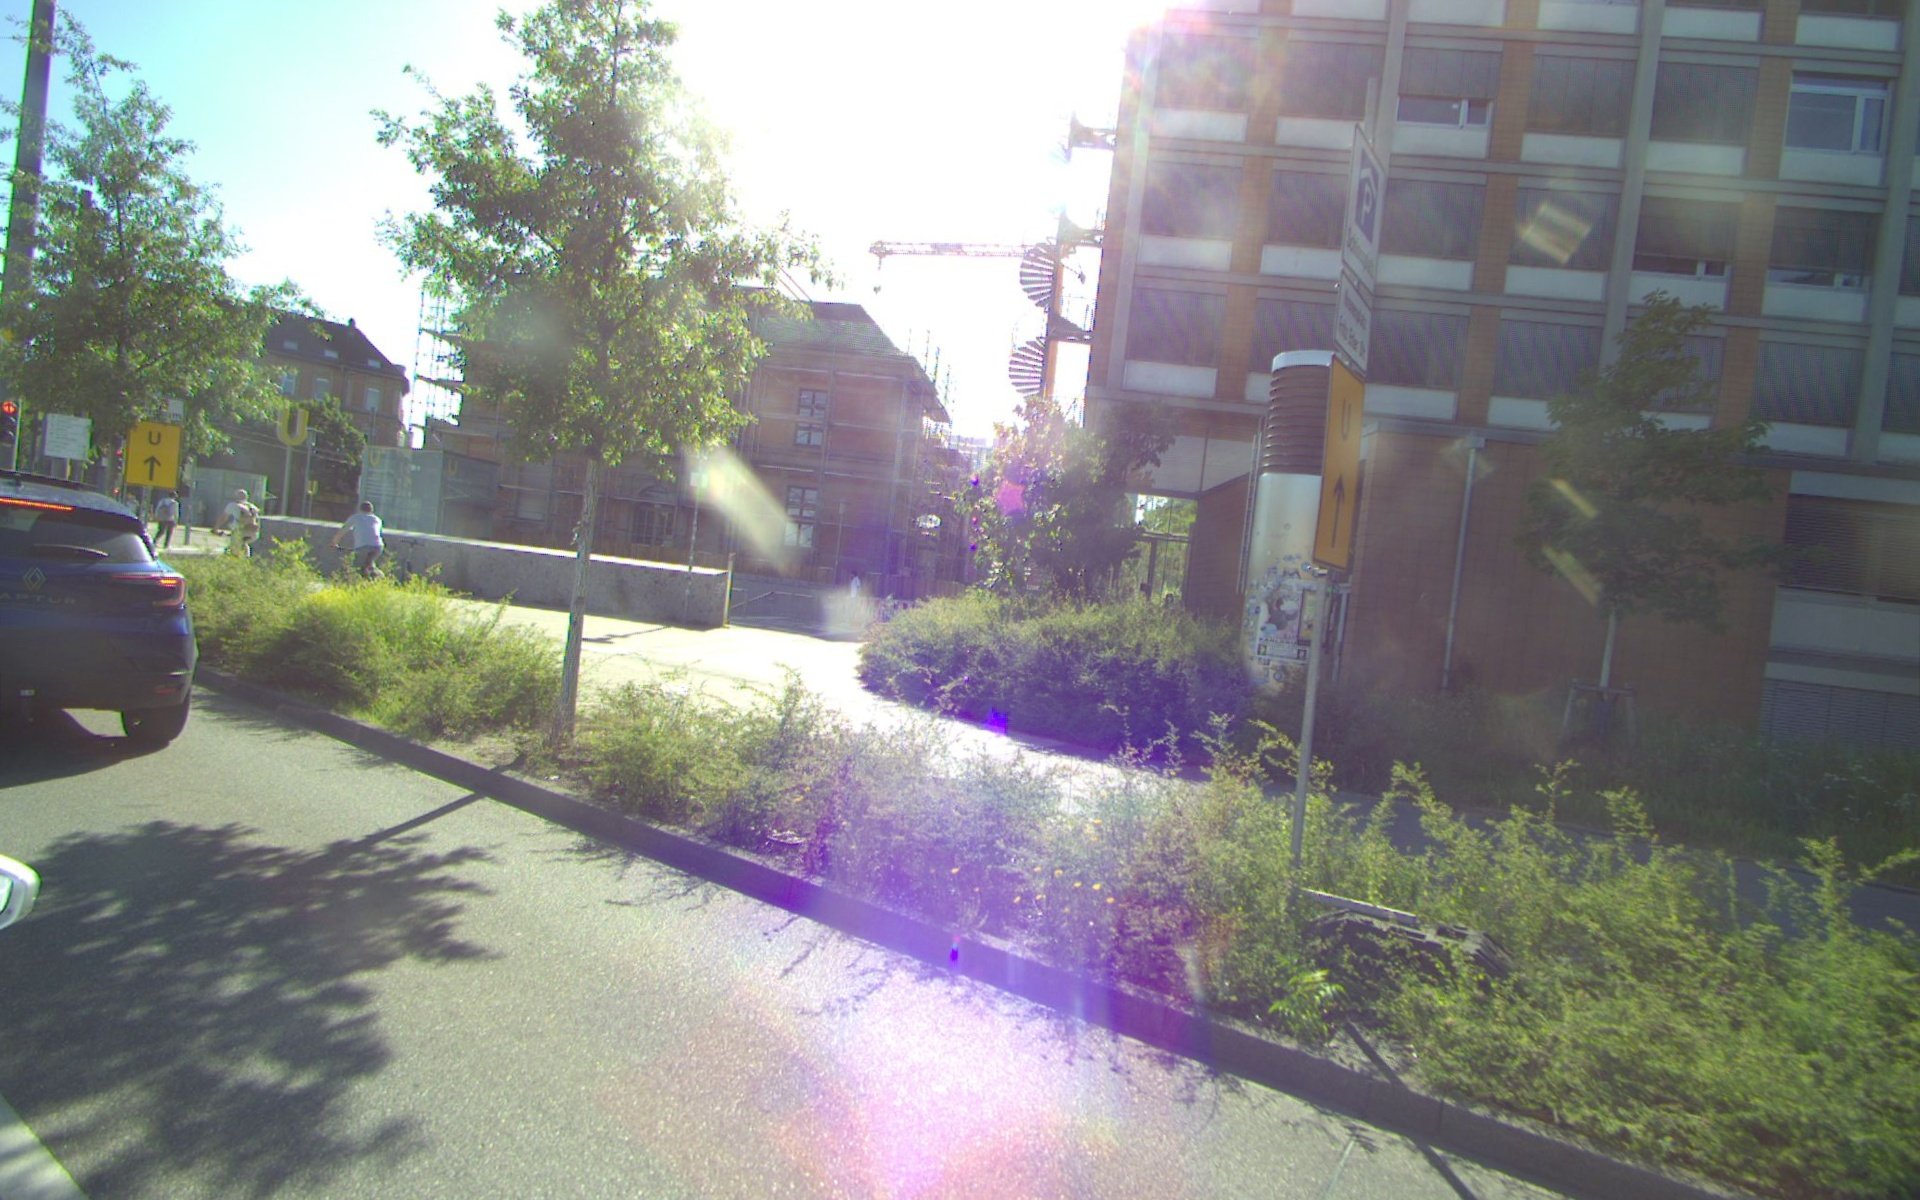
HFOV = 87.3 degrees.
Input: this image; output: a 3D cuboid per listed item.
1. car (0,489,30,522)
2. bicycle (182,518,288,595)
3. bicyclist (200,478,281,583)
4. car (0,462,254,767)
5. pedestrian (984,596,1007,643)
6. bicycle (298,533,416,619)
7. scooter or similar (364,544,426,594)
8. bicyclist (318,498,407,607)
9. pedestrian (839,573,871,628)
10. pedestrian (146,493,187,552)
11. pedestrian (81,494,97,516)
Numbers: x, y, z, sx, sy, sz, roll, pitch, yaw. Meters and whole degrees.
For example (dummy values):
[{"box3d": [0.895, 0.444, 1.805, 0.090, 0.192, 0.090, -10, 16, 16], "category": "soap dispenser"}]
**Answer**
[{"box3d": [-49.327, -5.009, 49.891, 1.698, 1.459, 4.380, 8, -2, 16], "category": "car"}, {"box3d": [-13.341, -0.799, 18.508, 1.837, 1.180, 0.747, 7, 1, 27], "category": "bicycle"}, {"box3d": [-13.197, -1.265, 18.450, 0.960, 1.785, 0.721, 7, 1, 27], "category": "bicyclist"}, {"box3d": [-6.538, -0.056, 6.667, 3.740, 1.636, 1.877, 6, -1, 37], "category": "car"}, {"box3d": [1.390, 0.759, 39.493, 0.713, 1.774, 0.538, 7, 1, -1], "category": "pedestrian"}, {"box3d": [-9.911, -0.394, 16.529, 1.837, 1.180, 0.717, 7, 1, 27], "category": "bicycle"}, {"box3d": [-13.882, -0.751, 24.715, 1.226, 1.025, 0.469, 9, 1, 14], "category": "scooter or similar"}, {"box3d": [-9.782, -0.773, 16.473, 0.960, 1.637, 0.721, 7, 1, 27], "category": "bicyclist"}, {"box3d": [-3.576, 0.008, 34.287, 0.775, 1.774, 0.538, 9, 1, -2], "category": "pedestrian"}, {"box3d": [-25.340, -2.464, 32.137, 0.587, 1.744, 0.868, 5, -1, -16], "category": "pedestrian"}, {"box3d": [-64.595, -7.037, 74.601, 0.786, 1.427, 0.599, 9, 2, 30], "category": "pedestrian"}]
